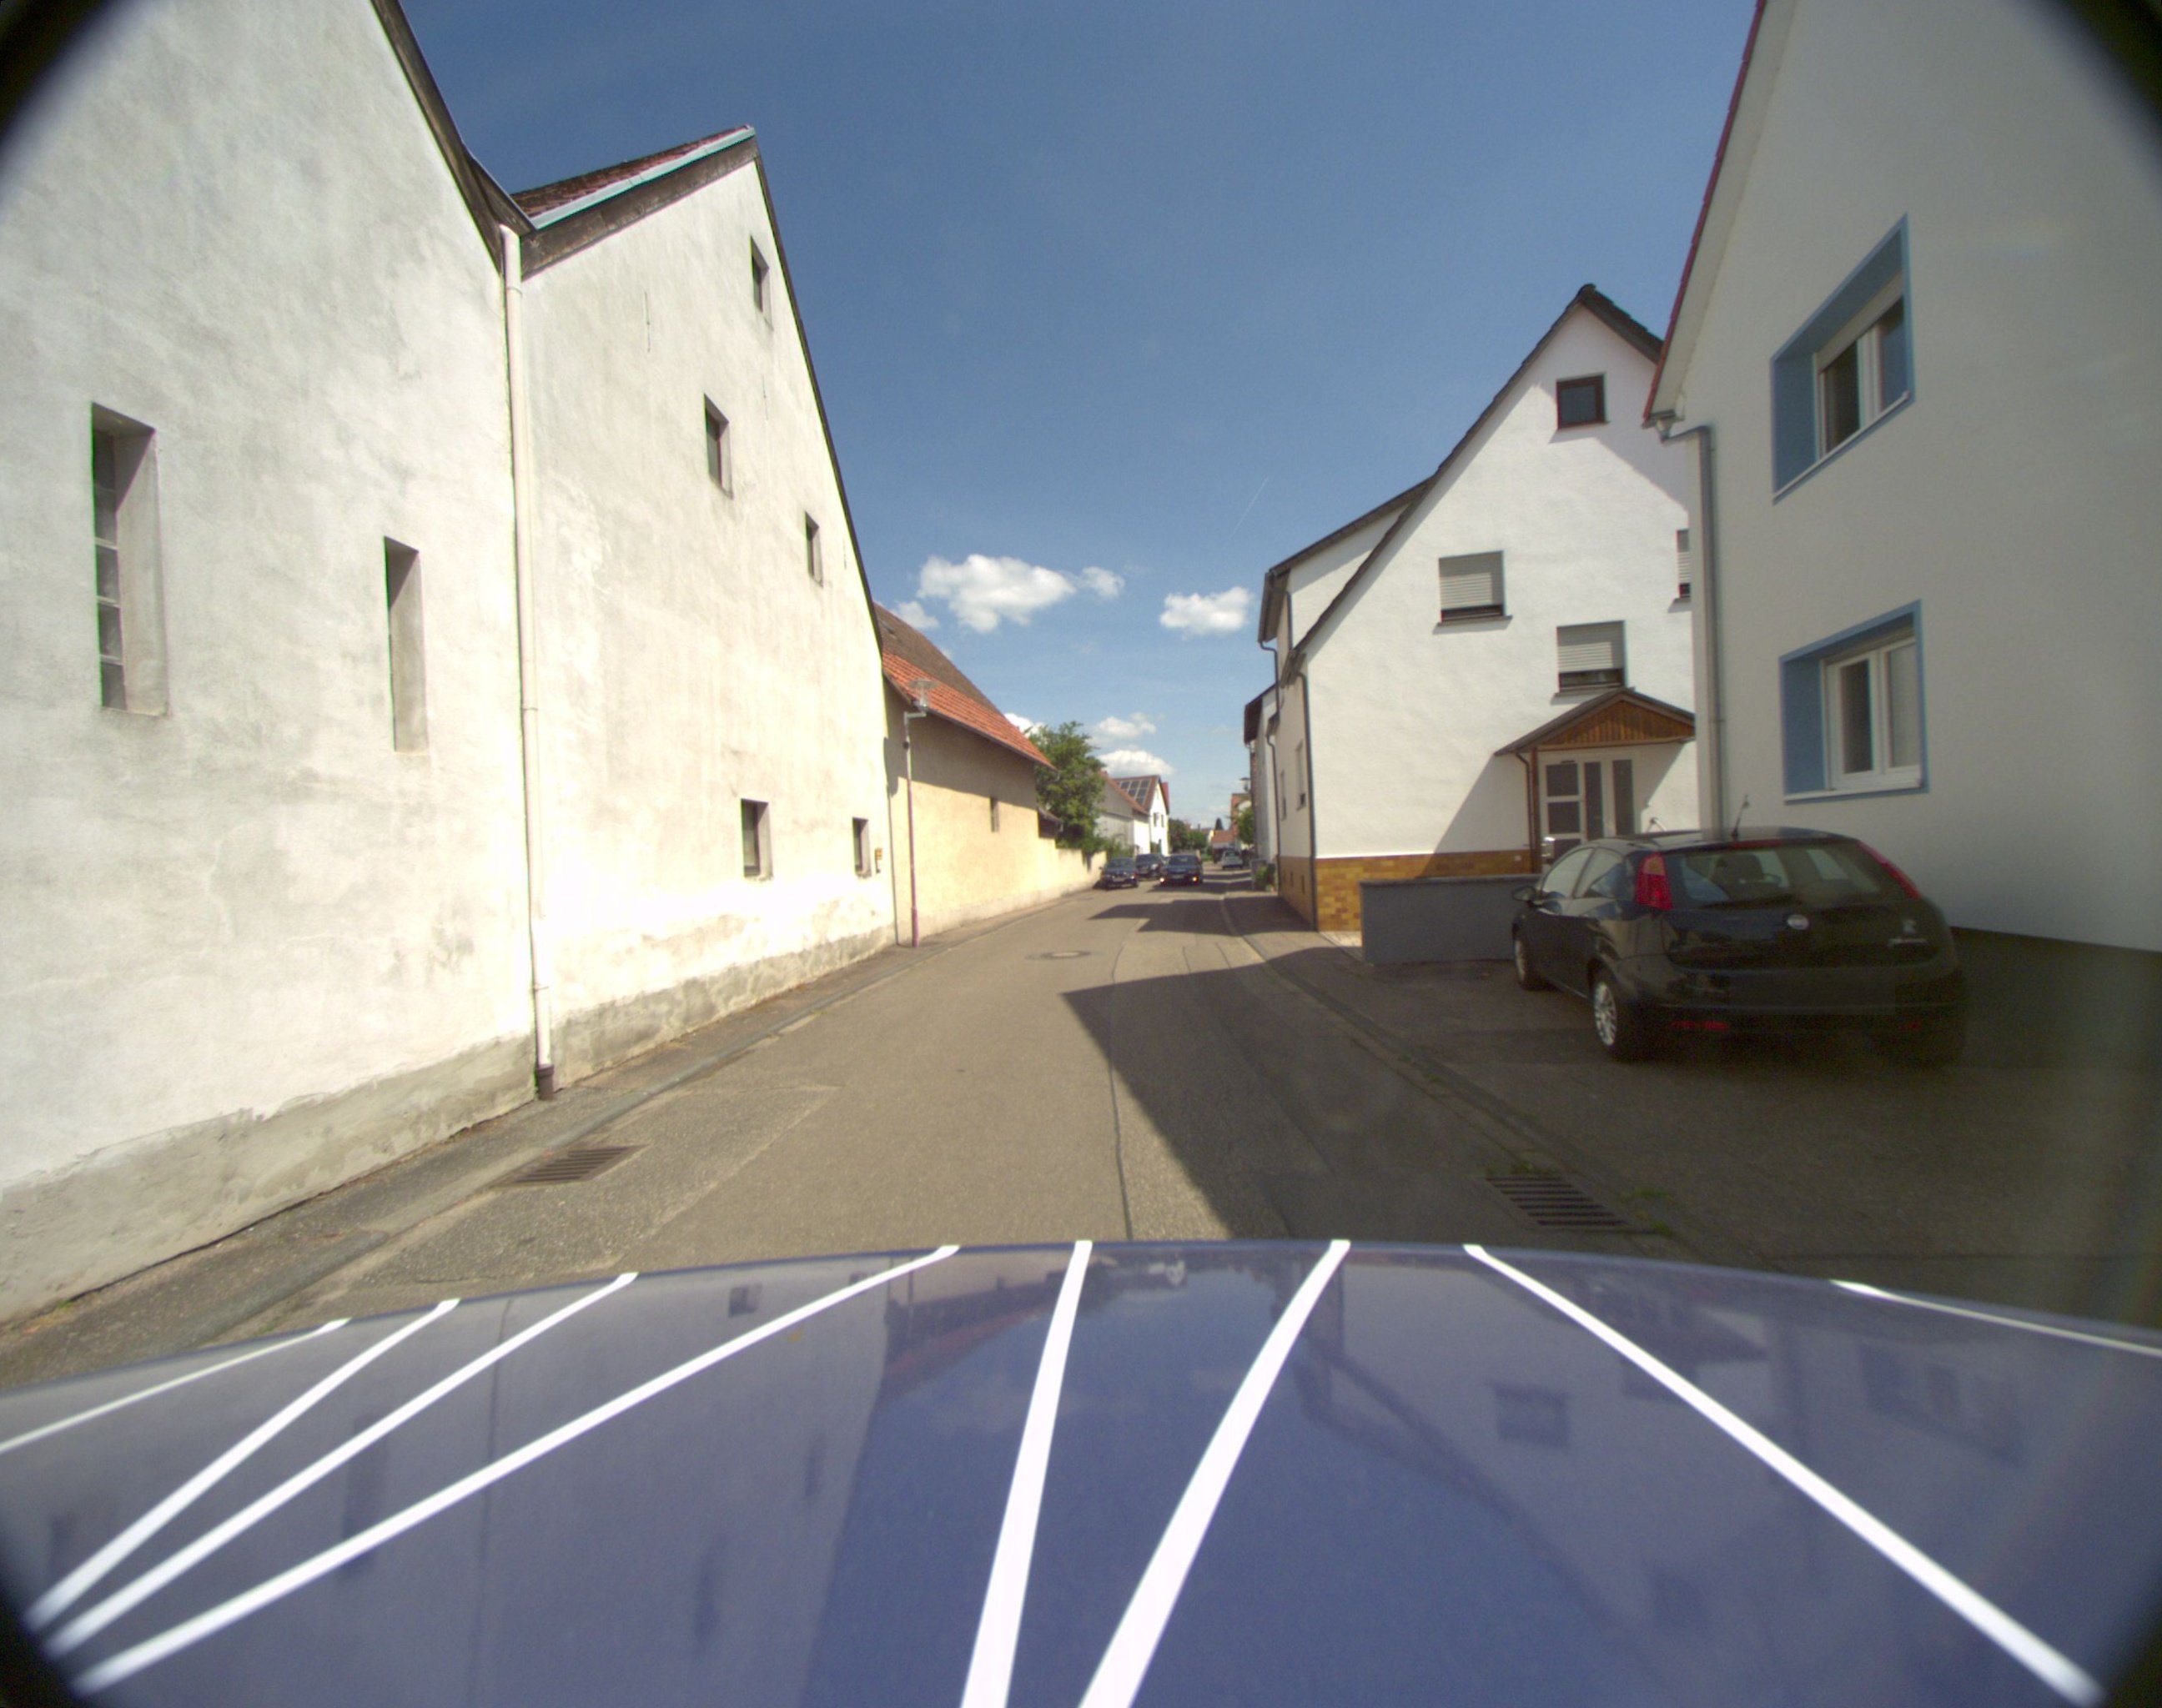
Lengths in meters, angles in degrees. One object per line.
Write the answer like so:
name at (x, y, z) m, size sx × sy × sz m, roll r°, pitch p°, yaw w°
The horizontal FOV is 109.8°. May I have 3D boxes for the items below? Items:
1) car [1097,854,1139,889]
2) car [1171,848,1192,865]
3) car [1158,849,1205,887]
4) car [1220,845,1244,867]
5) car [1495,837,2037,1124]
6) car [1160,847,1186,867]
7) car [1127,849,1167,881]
car at (1.839, 0.812, 36.523) m, size 1.784 × 1.471 × 4.001 m, roll -3°, pitch 0°, yaw 5°
car at (10.308, 0.207, 77.759) m, size 1.783 × 1.492 × 4.042 m, roll -6°, pitch 0°, yaw 12°
car at (4.828, 0.602, 36.025) m, size 1.783 × 1.527 × 4.713 m, roll -3°, pitch 1°, yaw 12°
car at (12.648, 0.165, 63.635) m, size 1.783 × 1.600 × 4.003 m, roll -6°, pitch 0°, yaw 12°
car at (4.551, 0.656, 5.857) m, size 1.640 × 1.446 × 3.791 m, roll -4°, pitch 0°, yaw 18°
car at (7.984, 0.222, 65.484) m, size 1.783 × 1.492 × 4.042 m, roll -6°, pitch 0°, yaw 12°
car at (4.012, 0.601, 45.412) m, size 1.783 × 1.600 × 4.003 m, roll -6°, pitch 0°, yaw 12°
